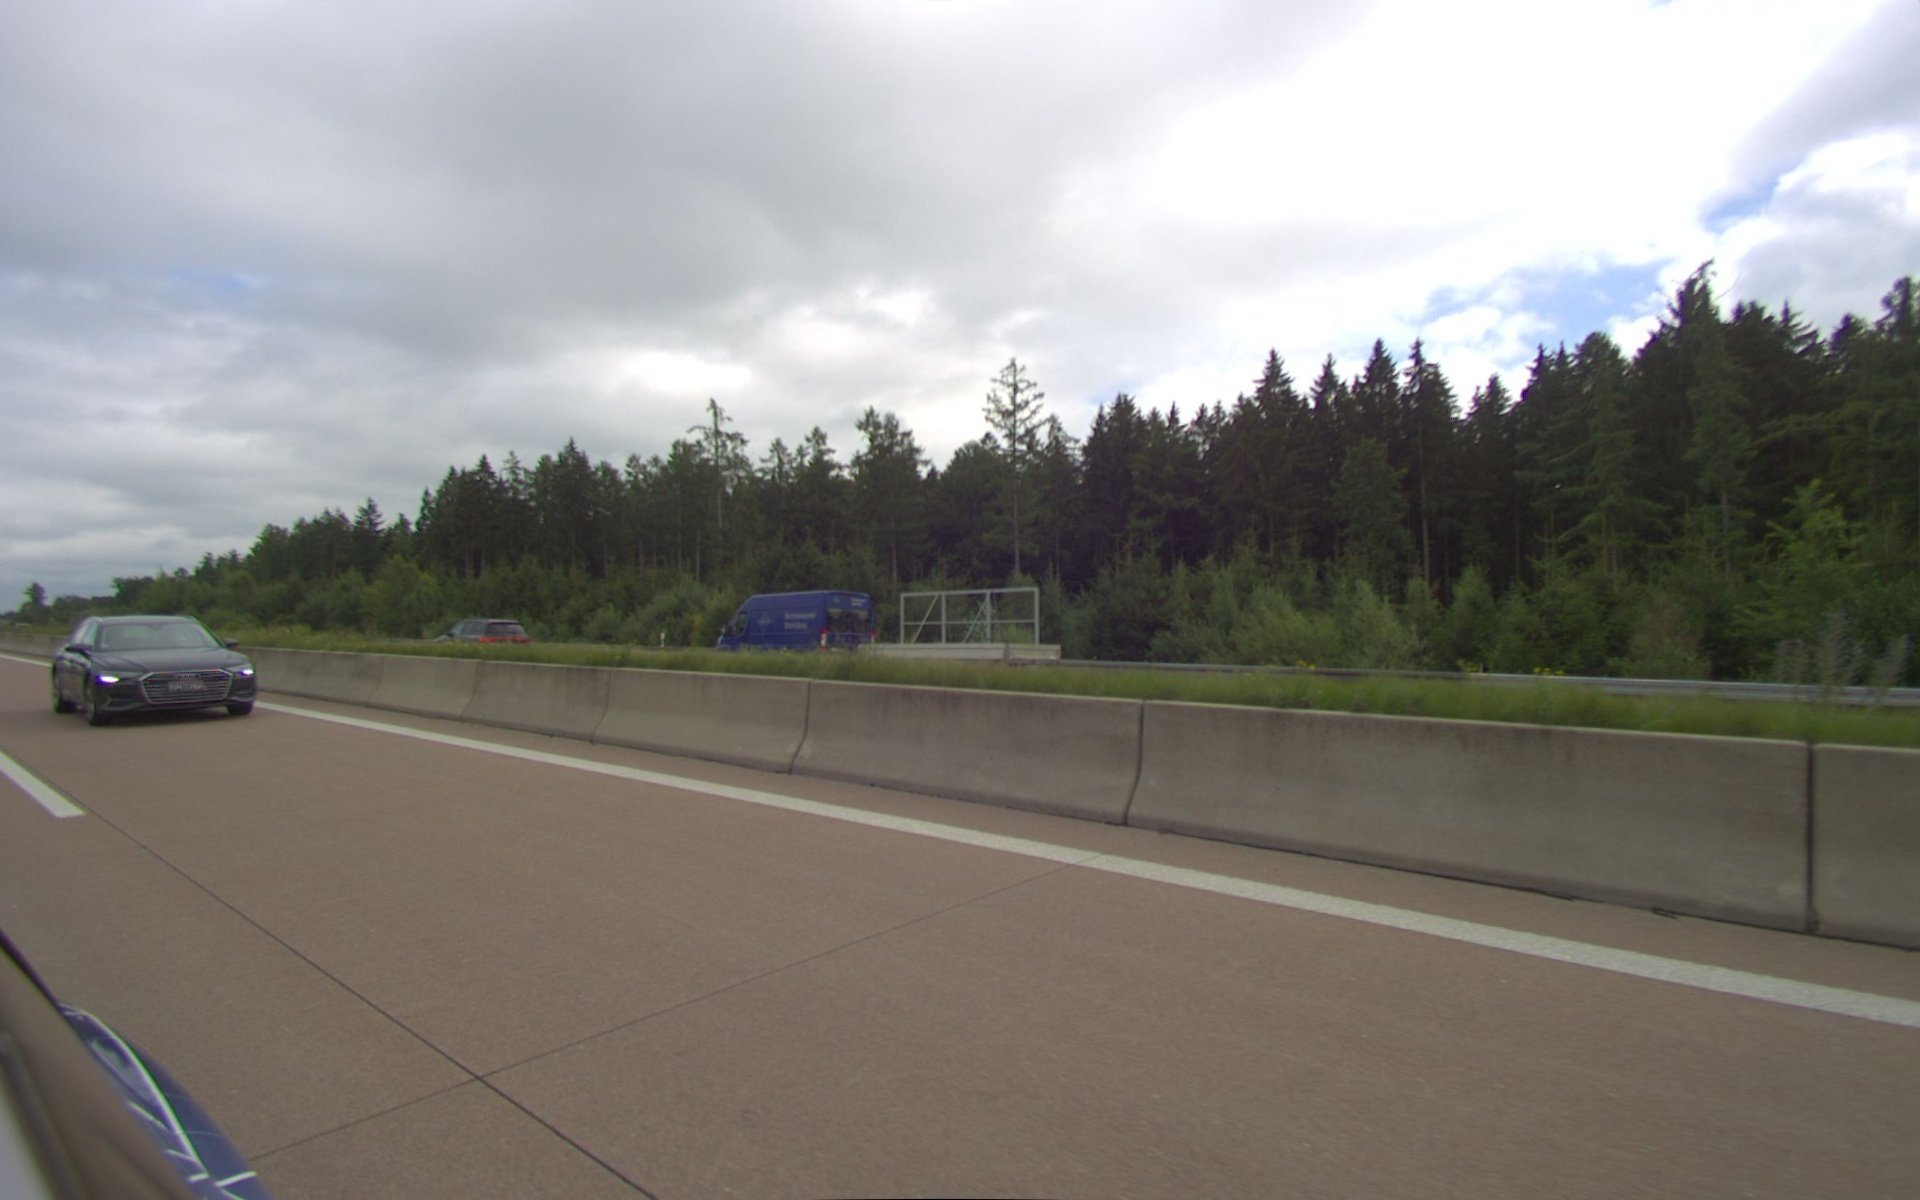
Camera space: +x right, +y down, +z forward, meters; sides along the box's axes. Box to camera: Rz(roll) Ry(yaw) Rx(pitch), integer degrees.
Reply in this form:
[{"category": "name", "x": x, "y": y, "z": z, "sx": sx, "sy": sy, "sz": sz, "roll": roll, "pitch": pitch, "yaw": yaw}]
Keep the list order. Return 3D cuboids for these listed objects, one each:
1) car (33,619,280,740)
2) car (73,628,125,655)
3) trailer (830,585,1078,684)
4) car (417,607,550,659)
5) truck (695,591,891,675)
[{"category": "car", "x": -12.389, "y": 1.071, "z": 15.440, "sx": 5.450, "sy": 1.503, "sz": 2.037, "roll": -1, "pitch": -1, "yaw": 41}, {"category": "car", "x": -68.223, "y": 3.234, "z": 80.178, "sx": 5.852, "sy": 2.045, "sz": 2.322, "roll": -1, "pitch": -1, "yaw": 41}, {"category": "trailer", "x": -0.290, "y": 0.805, "z": 25.117, "sx": 6.186, "sy": 2.178, "sz": 2.307, "roll": -1, "pitch": -1, "yaw": 41}, {"category": "car", "x": -16.489, "y": 1.117, "z": 34.884, "sx": 5.125, "sy": 1.639, "sz": 2.322, "roll": -1, "pitch": -1, "yaw": 41}, {"category": "truck", "x": -4.936, "y": 0.914, "z": 29.244, "sx": 6.040, "sy": 2.178, "sz": 2.322, "roll": -1, "pitch": -1, "yaw": 41}]
